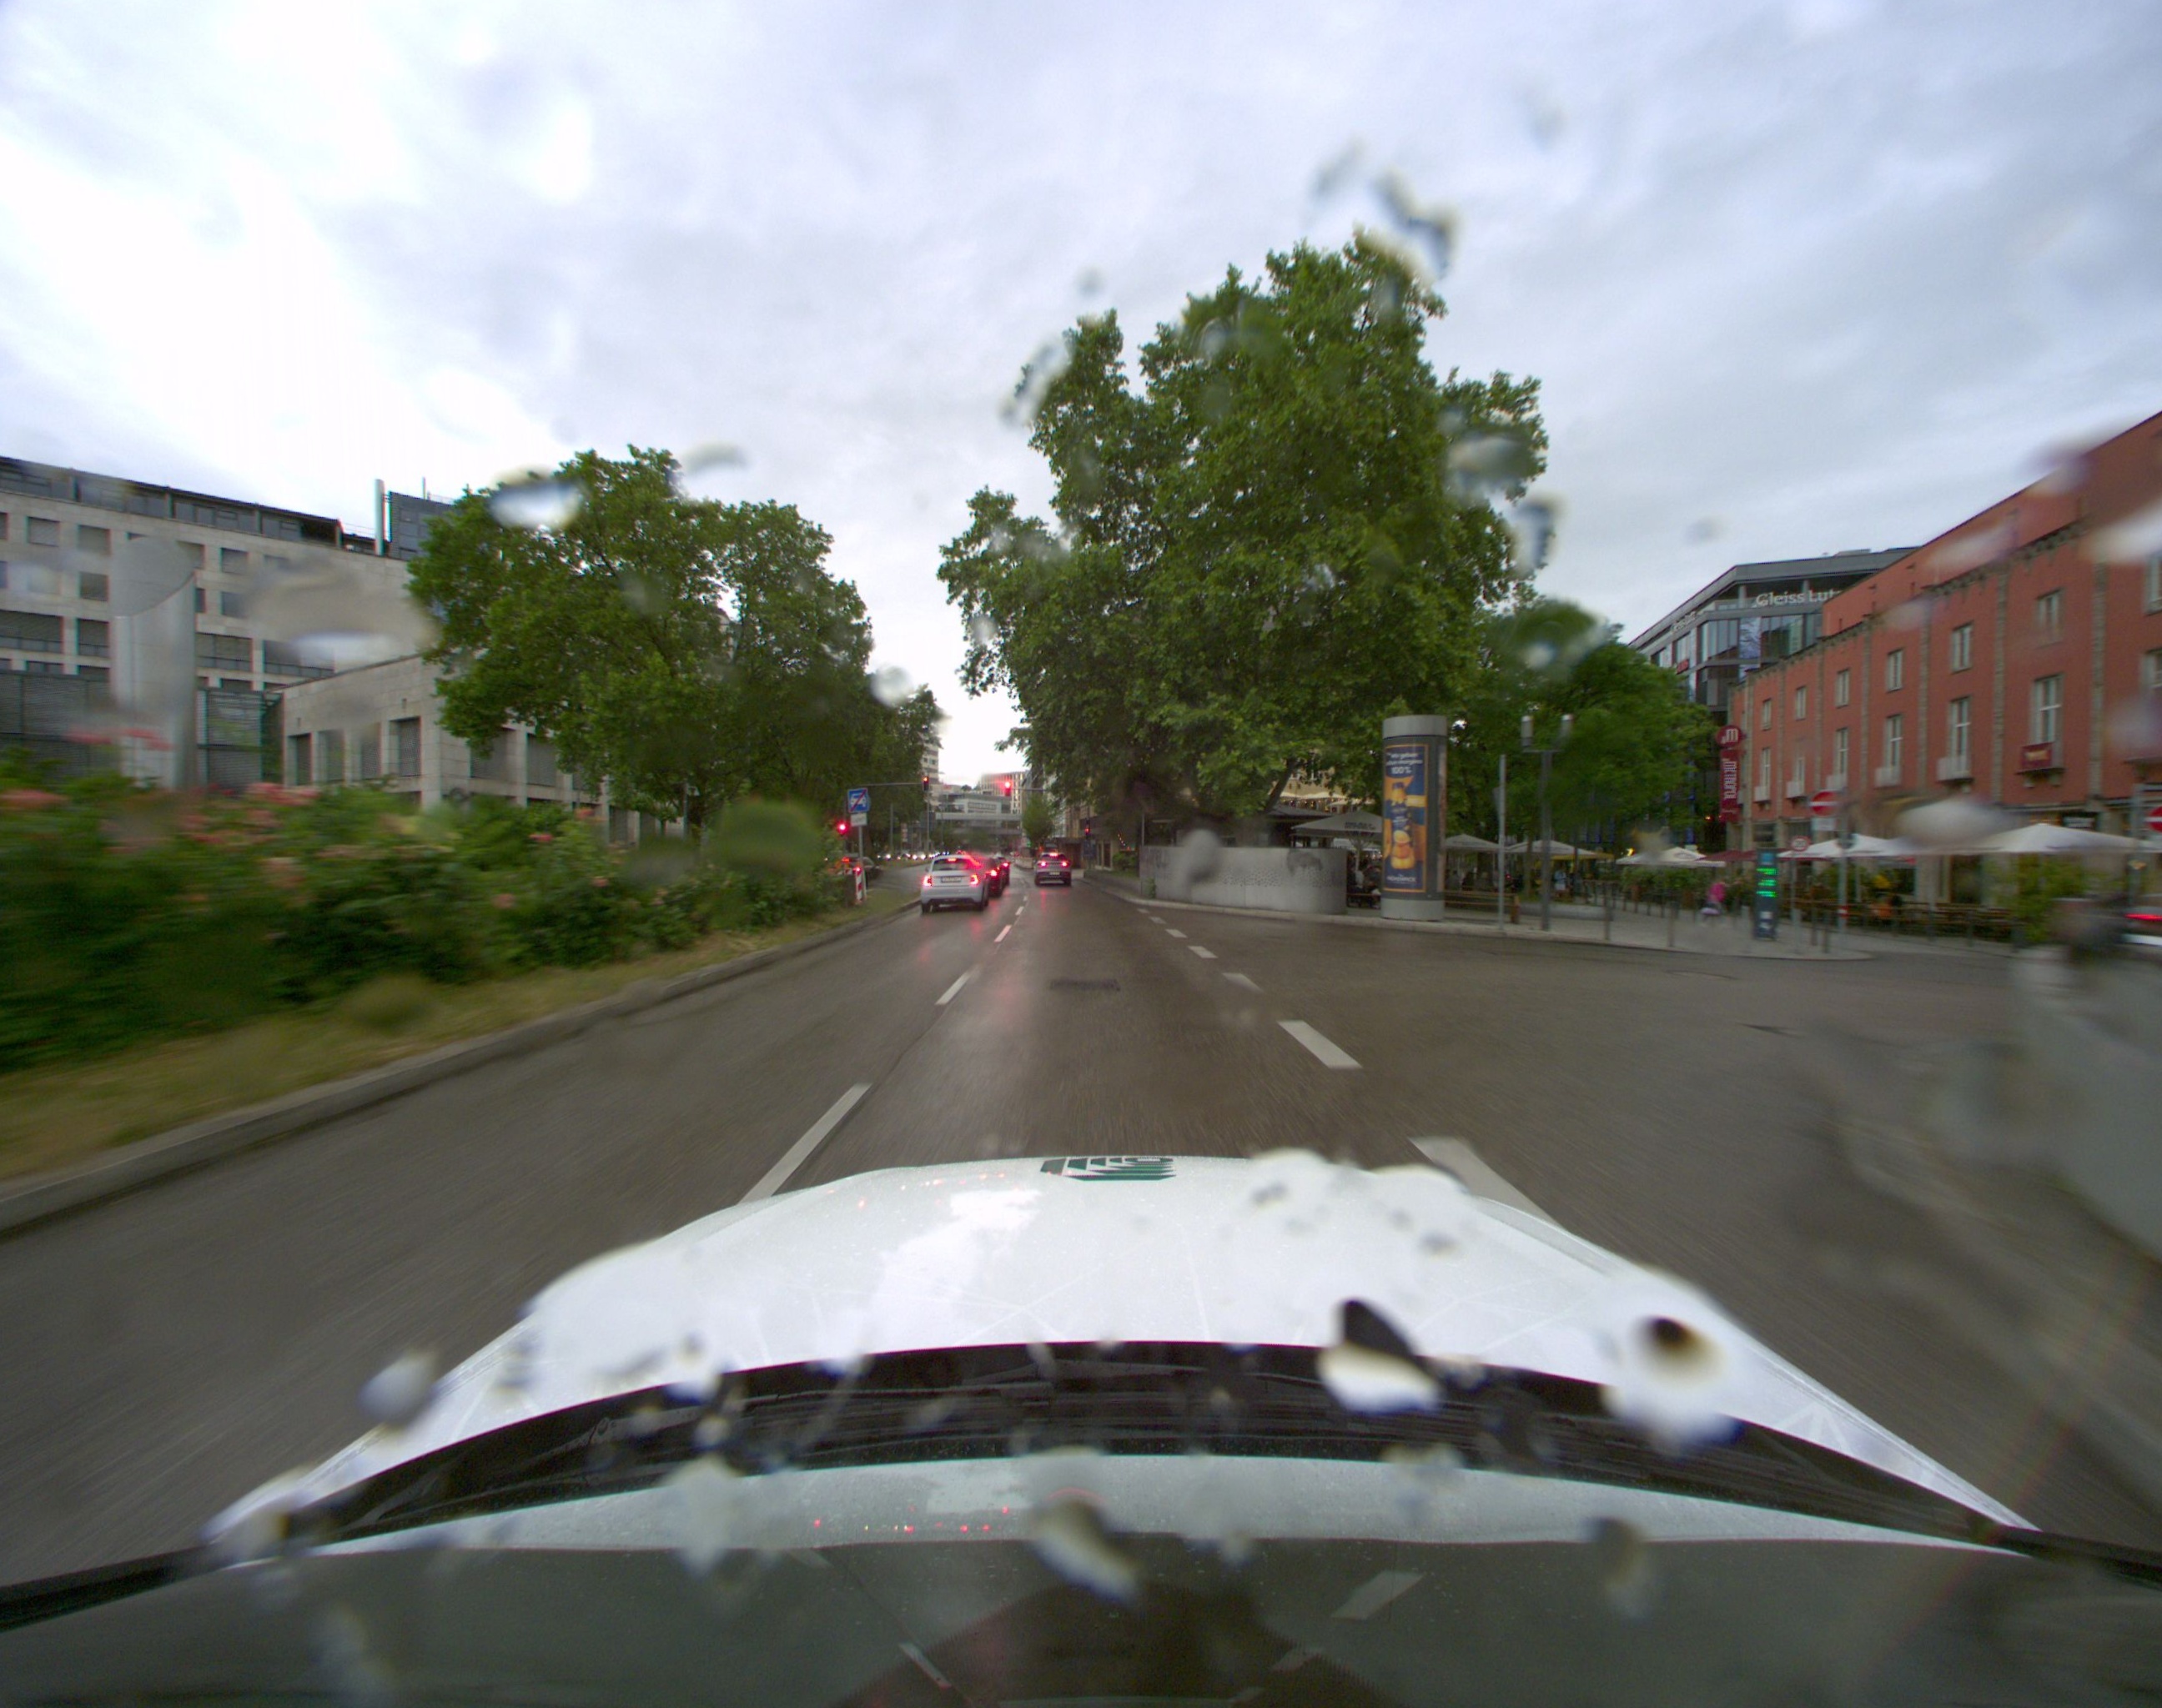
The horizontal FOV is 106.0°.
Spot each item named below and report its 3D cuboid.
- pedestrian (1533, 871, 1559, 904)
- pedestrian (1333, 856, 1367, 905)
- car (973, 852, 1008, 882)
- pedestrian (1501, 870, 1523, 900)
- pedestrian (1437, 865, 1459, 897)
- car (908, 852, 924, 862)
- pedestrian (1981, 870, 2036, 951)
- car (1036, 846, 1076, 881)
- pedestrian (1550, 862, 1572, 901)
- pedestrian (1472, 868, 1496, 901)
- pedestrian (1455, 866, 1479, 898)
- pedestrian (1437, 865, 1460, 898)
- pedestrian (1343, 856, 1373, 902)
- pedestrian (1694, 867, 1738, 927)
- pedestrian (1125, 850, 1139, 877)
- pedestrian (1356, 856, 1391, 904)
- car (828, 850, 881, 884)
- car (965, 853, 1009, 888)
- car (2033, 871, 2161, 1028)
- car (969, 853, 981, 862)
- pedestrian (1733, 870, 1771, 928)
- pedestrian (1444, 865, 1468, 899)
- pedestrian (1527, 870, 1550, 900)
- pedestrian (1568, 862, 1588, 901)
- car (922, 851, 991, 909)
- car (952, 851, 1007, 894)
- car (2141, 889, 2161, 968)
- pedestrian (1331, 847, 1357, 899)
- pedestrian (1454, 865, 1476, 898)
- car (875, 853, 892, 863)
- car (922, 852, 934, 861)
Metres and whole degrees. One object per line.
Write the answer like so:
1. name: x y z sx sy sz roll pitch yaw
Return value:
1. pedestrian: 18.197 1.309 31.855 0.626 1.250 0.609 3 -1 1
2. pedestrian: 8.089 0.788 24.555 0.682 1.410 0.905 3 -1 1
3. car: -4.725 0.632 42.620 1.689 1.463 4.336 -1 0 -6
4. pedestrian: 18.734 1.339 35.396 0.626 1.250 0.609 3 -1 1
5. pedestrian: 16.369 1.200 36.365 0.608 1.412 0.628 3 -1 -11
6. car: -26.326 0.432 130.003 2.157 1.463 4.336 -1 0 -6
7. pedestrian: 22.794 1.365 20.029 0.619 1.933 0.792 1 0 26
8. car: -1.349 0.487 42.334 1.943 1.666 4.340 1 0 -3
9. pedestrian: 23.094 1.309 39.187 0.740 1.832 0.612 3 -1 17
10. pedestrian: 15.873 1.195 32.090 0.626 1.250 0.609 3 -1 1
11. pedestrian: 15.618 1.109 32.944 0.626 1.250 0.609 3 -1 1
12. pedestrian: 16.067 1.193 35.628 0.608 1.412 0.628 3 -1 -11
13. pedestrian: 8.834 0.786 26.025 0.682 1.410 0.660 3 -1 1
14. pedestrian: 19.680 1.314 25.259 0.688 1.780 0.875 2 0 7
15. pedestrian: 3.407 0.642 54.532 0.856 1.780 0.717 0 -1 -1
16. pedestrian: 8.822 0.775 24.578 0.682 1.410 0.905 3 -1 1
17. car: -11.241 0.595 40.643 1.696 1.619 3.995 0 0 -3
18. car: -4.155 0.690 36.596 1.687 1.463 4.340 -1 0 -3
19. car: 13.308 1.134 8.458 4.067 1.621 1.870 4 0 15
20. car: -18.658 0.560 143.498 1.976 1.463 4.335 -1 0 -6
21. pedestrian: 21.309 1.410 25.877 0.587 1.780 0.748 2 0 7
22. pedestrian: 15.977 1.185 34.712 0.608 1.412 0.628 3 -1 -11
23. pedestrian: 20.012 1.345 35.631 0.626 1.250 0.609 3 -1 1
24. pedestrian: 23.793 1.310 38.990 0.623 1.832 0.612 3 -1 16
25. car: -3.484 0.687 23.225 1.587 1.491 3.500 -1 0 -3
26. car: -3.674 0.630 30.102 1.687 1.463 4.125 -1 0 -3
27. car: 21.047 1.435 13.780 1.616 1.416 3.501 2 1 -24
28. pedestrian: 8.781 0.629 27.197 0.715 1.701 0.622 0 -1 27
29. pedestrian: 16.848 1.196 35.735 0.608 1.412 0.628 3 -1 -11
30. car: -29.165 0.582 120.474 1.792 1.510 4.490 -1 0 -6
31. car: -27.821 0.393 148.219 1.792 1.510 4.490 -1 0 -6
